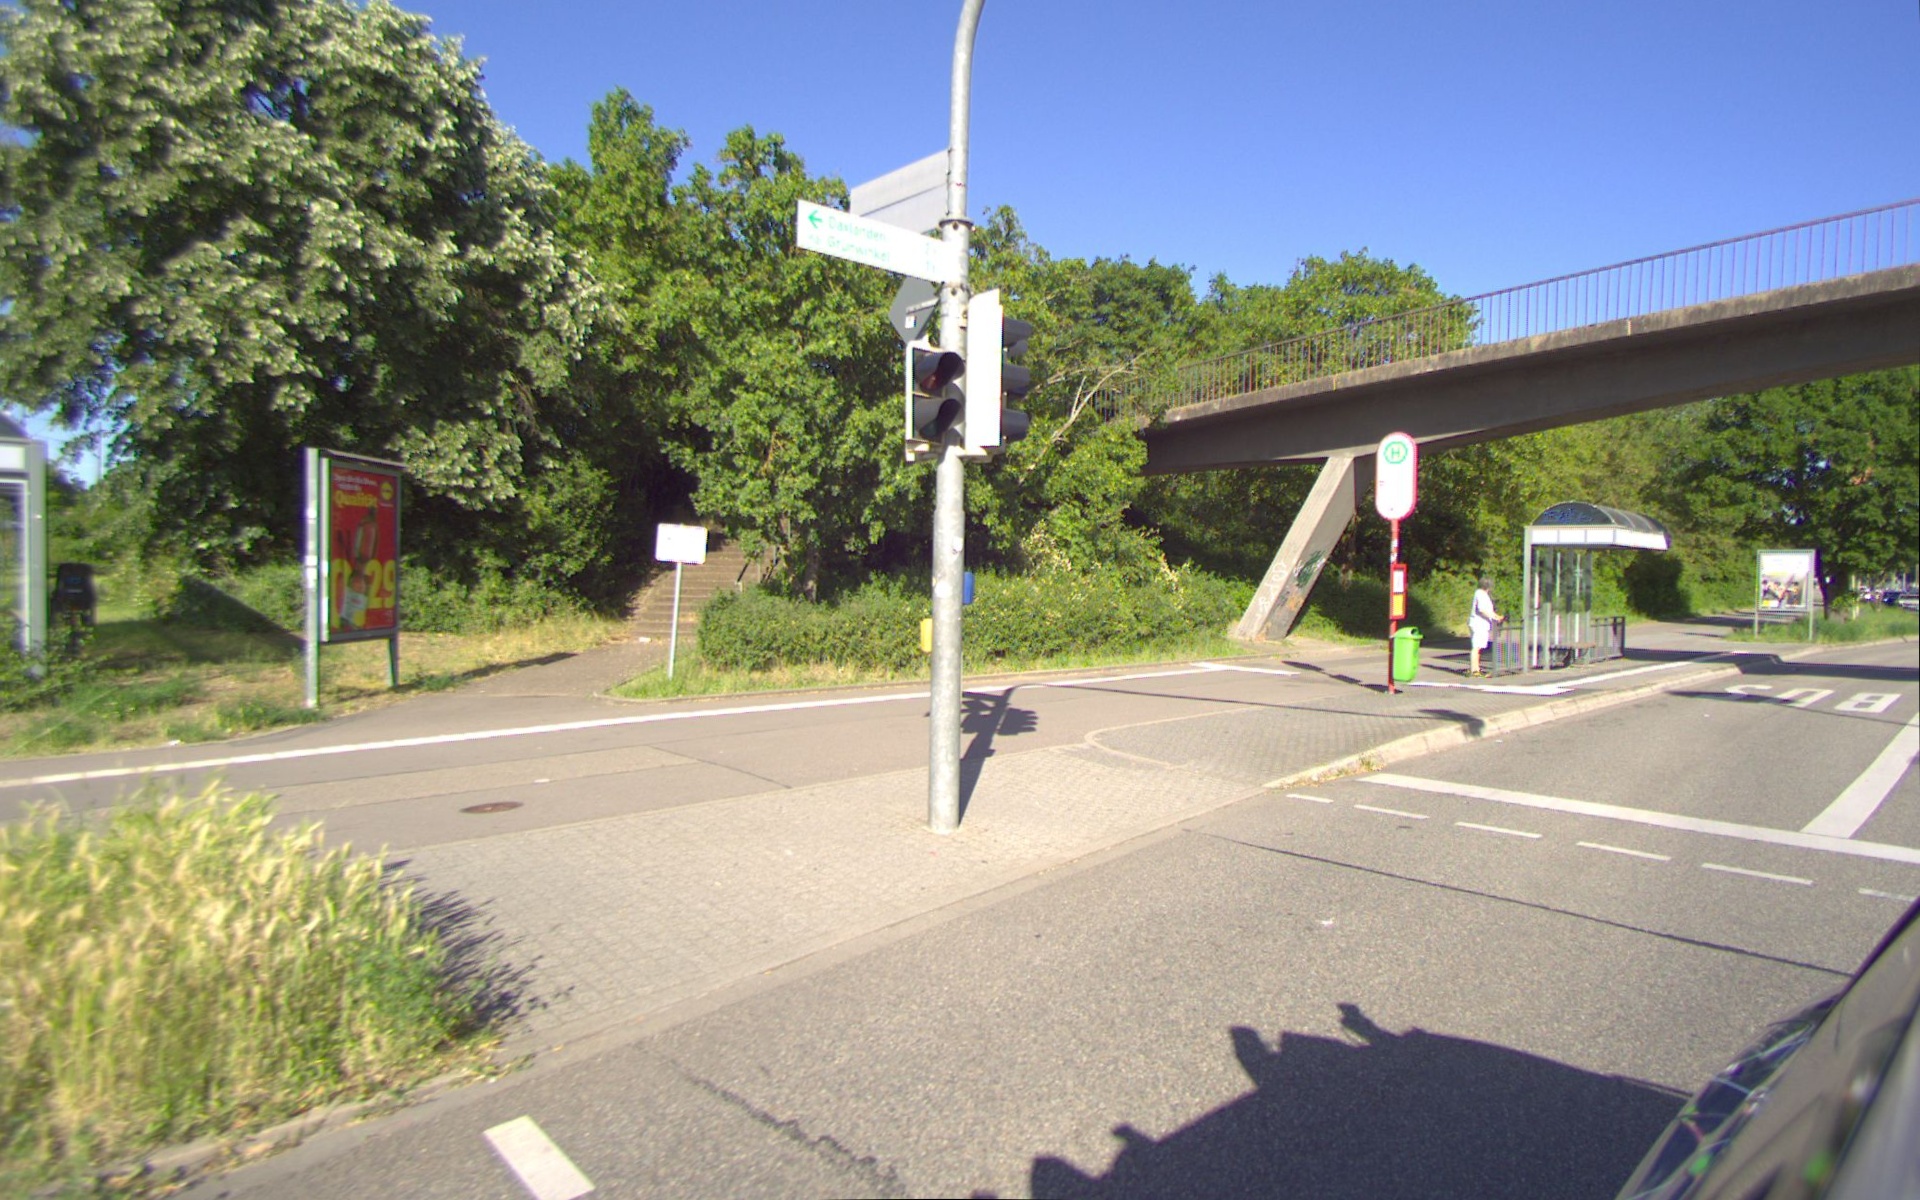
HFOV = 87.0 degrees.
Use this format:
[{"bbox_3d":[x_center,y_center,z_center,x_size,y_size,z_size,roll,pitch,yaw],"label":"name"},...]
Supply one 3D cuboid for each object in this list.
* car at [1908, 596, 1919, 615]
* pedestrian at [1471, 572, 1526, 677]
[{"bbox_3d":[85.092,0.504,89.429,1.868,1.641,3.777,1,0,42],"label":"car"},{"bbox_3d":[8.978,0.392,16.882,0.588,1.683,0.705,2,1,45],"label":"pedestrian"}]
